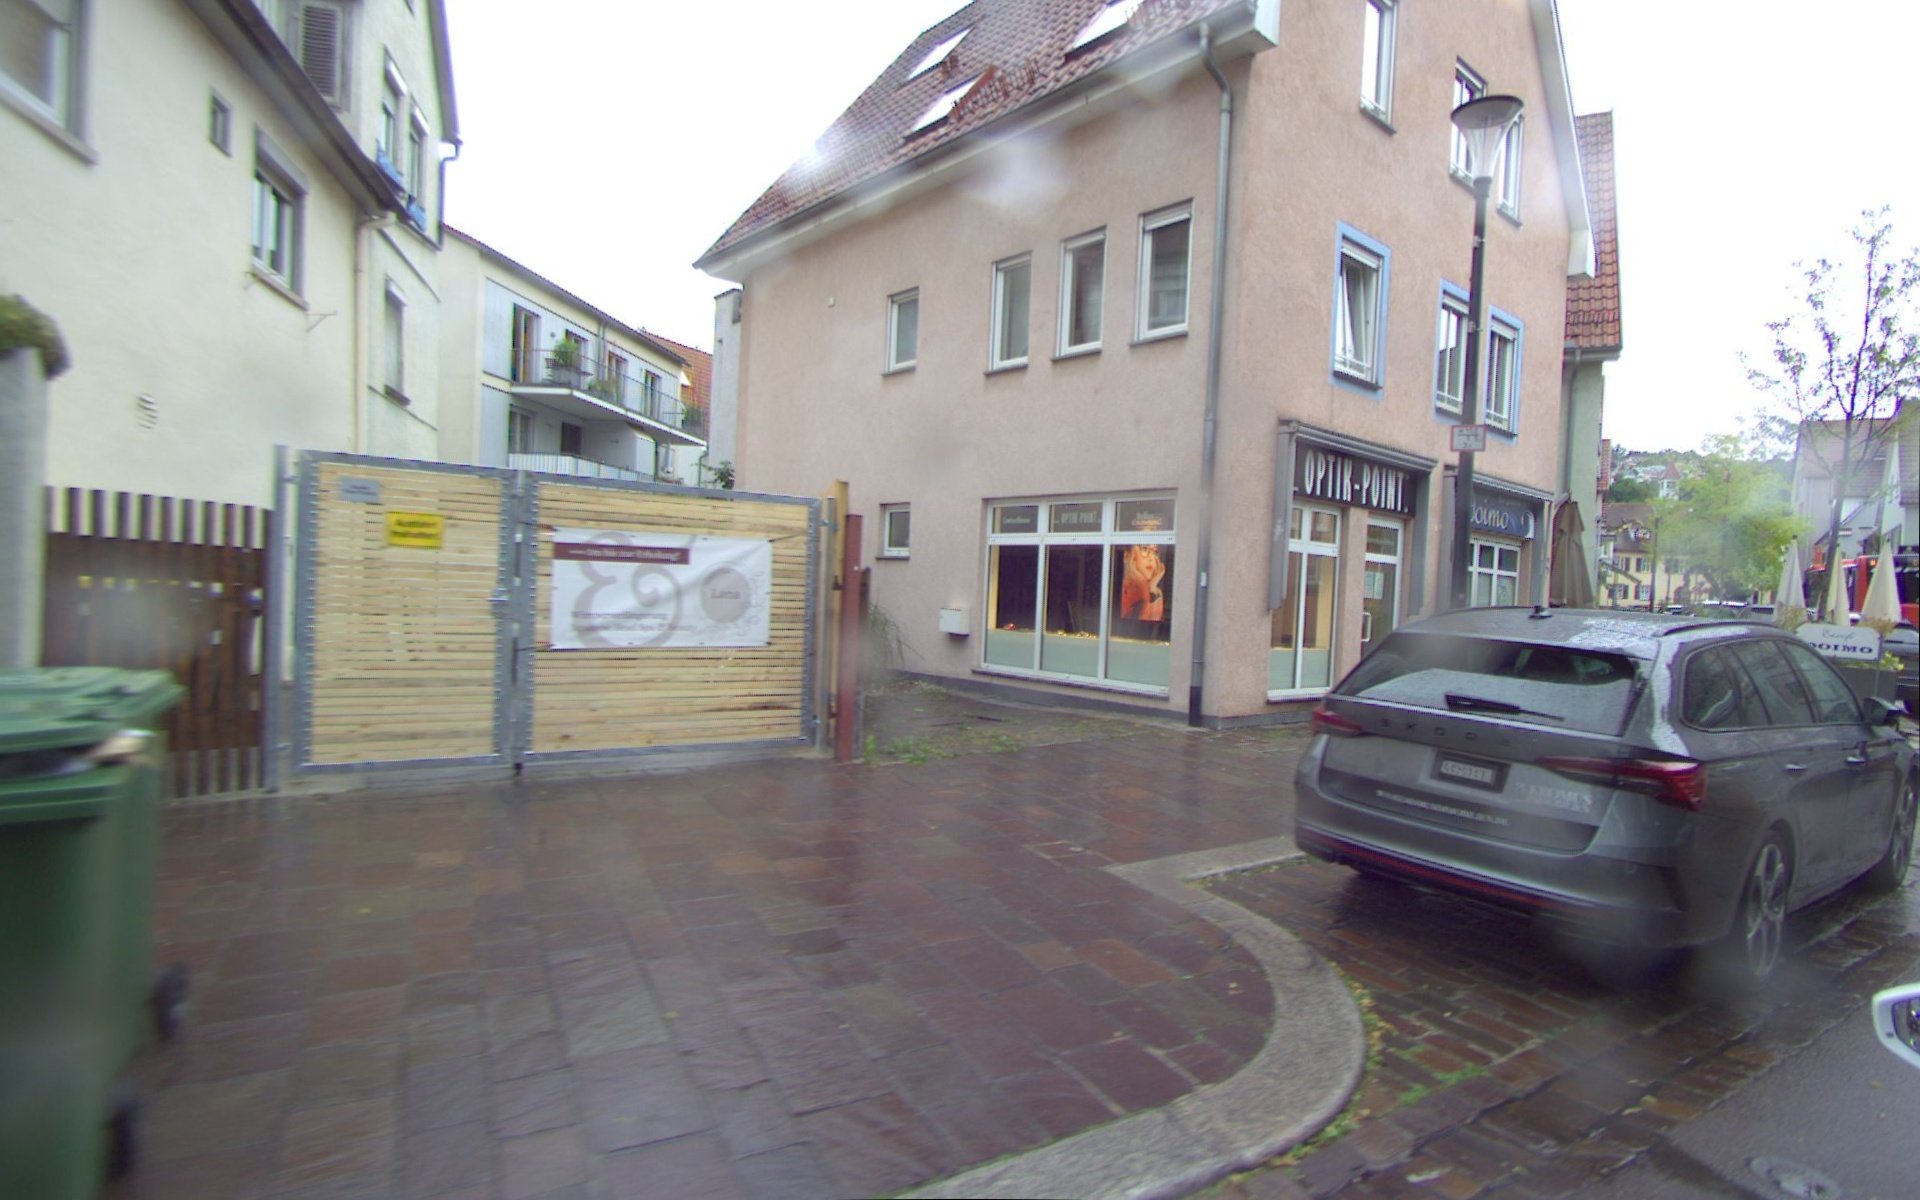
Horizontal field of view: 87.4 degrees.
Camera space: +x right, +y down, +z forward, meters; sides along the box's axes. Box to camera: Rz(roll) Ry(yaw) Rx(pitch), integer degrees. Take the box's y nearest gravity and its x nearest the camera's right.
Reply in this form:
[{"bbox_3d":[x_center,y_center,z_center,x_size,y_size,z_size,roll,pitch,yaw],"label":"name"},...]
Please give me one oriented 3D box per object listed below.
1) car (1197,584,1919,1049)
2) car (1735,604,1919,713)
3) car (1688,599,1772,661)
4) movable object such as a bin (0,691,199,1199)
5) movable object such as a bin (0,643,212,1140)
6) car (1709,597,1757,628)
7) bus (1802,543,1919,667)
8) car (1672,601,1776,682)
[{"bbox_3d":[3.456,0.751,5.333,4.335,1.474,1.978,2,0,-38],"label":"car"},{"bbox_3d":[14.784,0.879,17.076,1.774,1.452,4.619,5,3,29],"label":"car"},{"bbox_3d":[23.959,0.929,31.378,1.748,1.697,4.465,4,1,35],"label":"car"},{"bbox_3d":[-1.963,0.774,1.974,0.616,1.124,0.656,2,0,-29],"label":"movable object such as a bin"},{"bbox_3d":[-2.409,0.693,2.615,0.616,1.124,0.656,2,0,-29],"label":"movable object such as a bin"},{"bbox_3d":[54.465,0.907,70.741,3.971,2.040,1.975,2,0,-42],"label":"car"},{"bbox_3d":[26.943,0.200,29.325,2.604,3.270,6.587,2,0,32],"label":"bus"},{"bbox_3d":[16.720,0.875,22.117,1.571,1.566,3.965,2,0,35],"label":"car"}]
